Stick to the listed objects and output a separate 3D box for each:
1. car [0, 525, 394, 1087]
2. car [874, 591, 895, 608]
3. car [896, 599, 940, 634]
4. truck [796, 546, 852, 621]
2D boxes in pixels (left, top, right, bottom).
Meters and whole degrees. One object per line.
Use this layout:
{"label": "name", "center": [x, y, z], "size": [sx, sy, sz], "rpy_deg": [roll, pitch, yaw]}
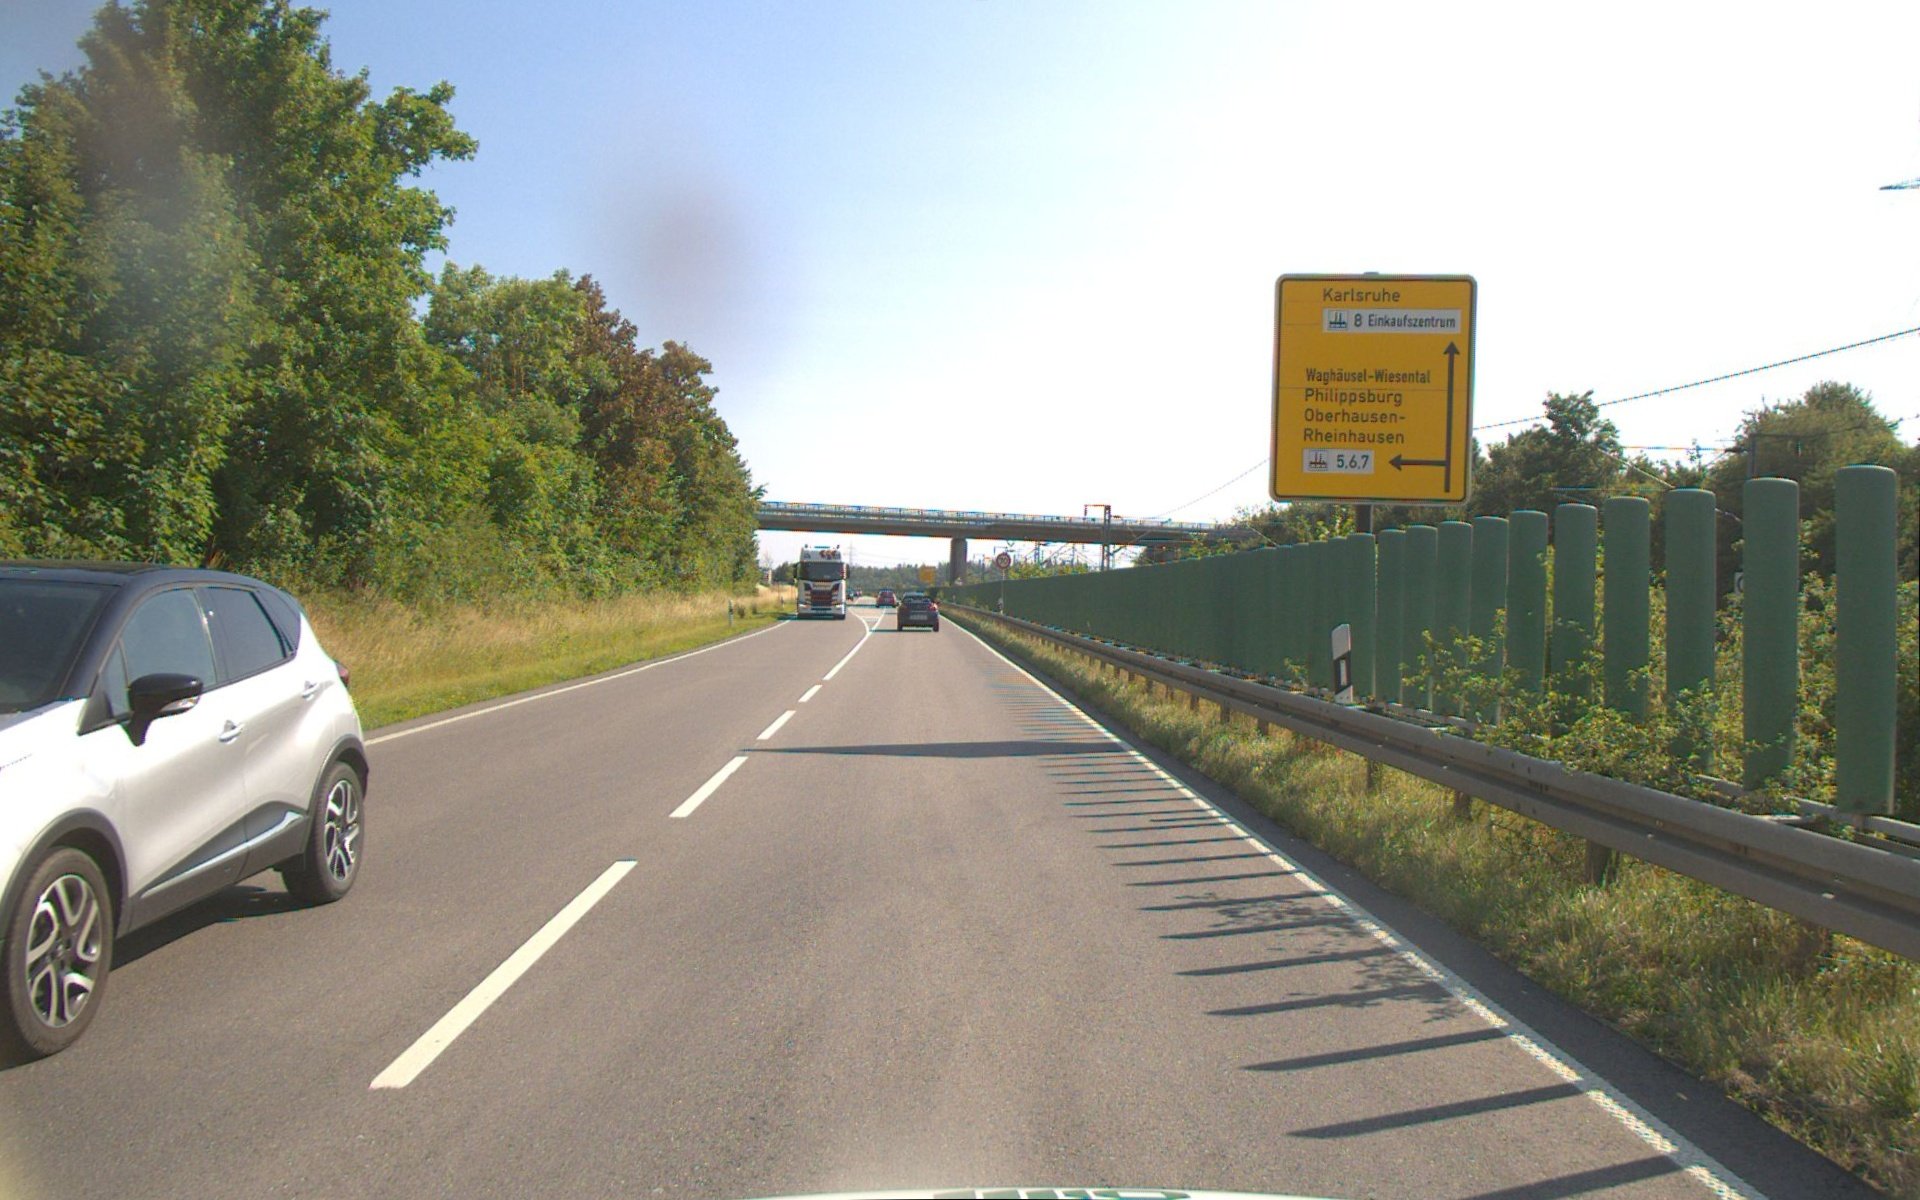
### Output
{"label": "car", "center": [-3.708, 0.587, 6.419], "size": [1.760, 1.621, 3.998], "rpy_deg": [1, 0, -2]}
{"label": "car", "center": [-6.814, -0.052, 148.869], "size": [1.857, 1.443, 3.998], "rpy_deg": [1, 0, -3]}
{"label": "car", "center": [-1.649, 0.620, 64.444], "size": [1.630, 1.283, 3.998], "rpy_deg": [1, 0, -3]}
{"label": "truck", "center": [-7.204, -0.875, 88.792], "size": [2.508, 3.753, 10.482], "rpy_deg": [1, 0, -2]}
